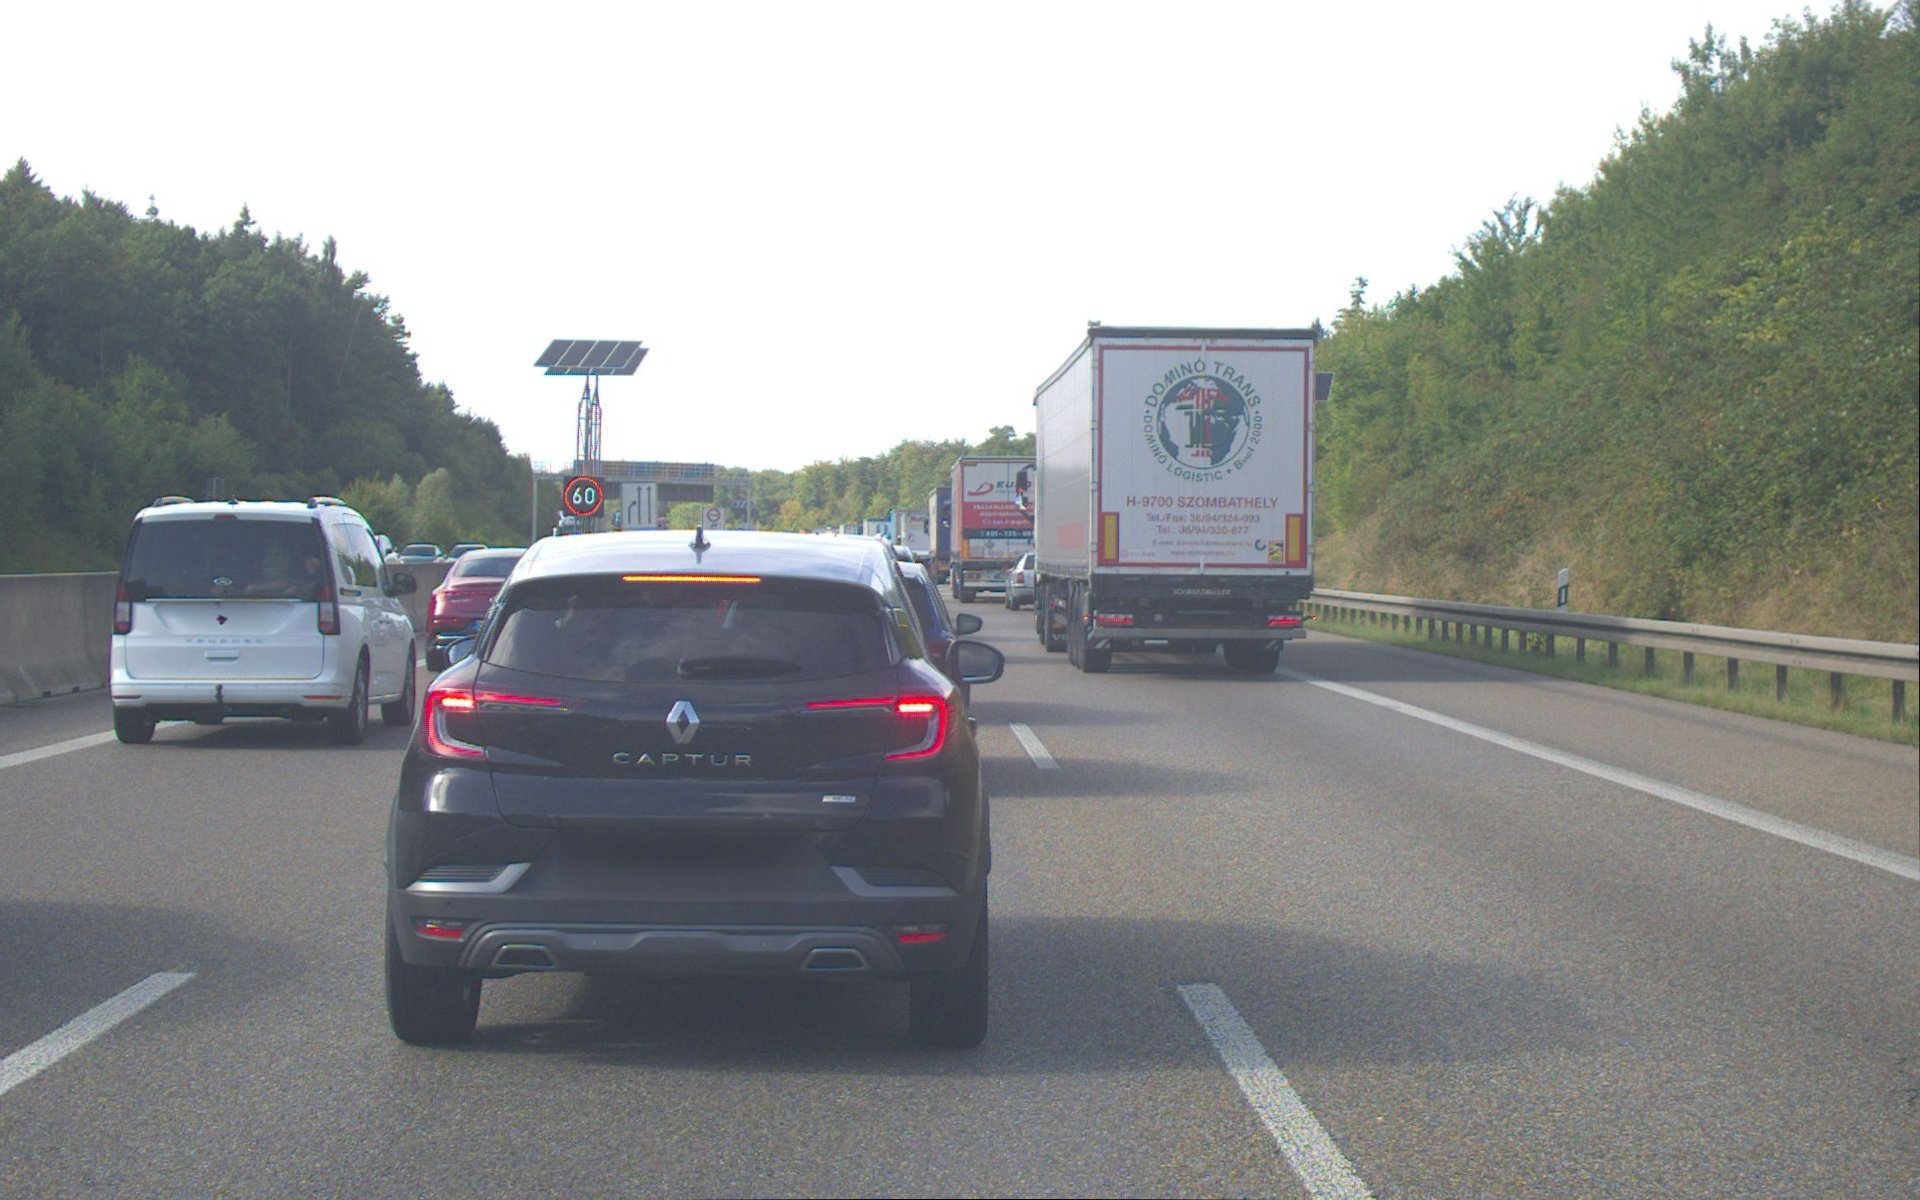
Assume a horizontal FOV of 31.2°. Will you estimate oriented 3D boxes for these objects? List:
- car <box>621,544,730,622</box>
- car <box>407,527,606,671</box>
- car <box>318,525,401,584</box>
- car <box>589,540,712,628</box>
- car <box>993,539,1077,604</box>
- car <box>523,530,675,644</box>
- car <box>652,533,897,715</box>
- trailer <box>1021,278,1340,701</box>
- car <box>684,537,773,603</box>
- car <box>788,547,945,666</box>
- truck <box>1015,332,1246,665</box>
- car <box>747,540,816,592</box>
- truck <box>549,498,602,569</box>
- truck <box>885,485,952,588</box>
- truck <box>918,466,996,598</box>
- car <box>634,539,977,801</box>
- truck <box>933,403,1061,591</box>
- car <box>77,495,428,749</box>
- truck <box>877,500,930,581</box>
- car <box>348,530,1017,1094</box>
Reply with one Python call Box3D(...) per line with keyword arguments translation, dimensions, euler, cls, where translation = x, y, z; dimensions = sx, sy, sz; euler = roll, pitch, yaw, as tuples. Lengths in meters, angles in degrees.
Box3D(translation=(-6.051, -0.375, 73.558), dimensions=(1.993, 1.607, 4.000), euler=(1, 0, 0), cls="car")
Box3D(translation=(-5.425, -0.029, 41.533), dimensions=(1.855, 1.635, 3.926), euler=(1, 0, 0), cls="car")
Box3D(translation=(-18.991, -1.442, 108.884), dimensions=(1.852, 1.803, 4.925), euler=(1, 1, -1), cls="car")
Box3D(translation=(-5.913, -0.313, 66.024), dimensions=(1.993, 1.607, 4.000), euler=(1, 0, 0), cls="car")
Box3D(translation=(1.787, -0.690, 83.175), dimensions=(1.804, 1.527, 3.926), euler=(1, 0, -2), cls="car")
Box3D(translation=(-5.676, -0.217, 54.472), dimensions=(1.993, 1.716, 4.000), euler=(1, 0, 0), cls="car")
Box3D(translation=(-1.598, 0.183, 30.942), dimensions=(1.993, 1.509, 4.000), euler=(1, 0, 0), cls="car")
Box3D(translation=(2.557, -1.339, 44.674), dimensions=(3.002, 4.645, 13.291), euler=(1, 1, -1), cls="trailer")
Box3D(translation=(-5.802, -0.782, 86.590), dimensions=(1.993, 1.607, 4.000), euler=(1, 1, 0), cls="car")
Box3D(translation=(-1.211, 0.067, 46.152), dimensions=(1.993, 1.509, 4.000), euler=(1, 0, 0), cls="car")
Box3D(translation=(2.436, -1.471, 51.172), dimensions=(2.997, 4.651, 5.940), euler=(0, 1, -1), cls="truck")
Box3D(translation=(-5.656, -1.089, 109.358), dimensions=(1.993, 1.607, 4.000), euler=(1, 1, 0), cls="car")
Box3D(translation=(-28.032, -4.849, 251.024), dimensions=(2.890, 5.075, 10.081), euler=(1, 1, -1), cls="truck")
Box3D(translation=(-2.251, -3.473, 190.695), dimensions=(3.167, 5.486, 12.737), euler=(1, 0, 1), cls="truck")
Box3D(translation=(-0.138, -2.888, 149.653), dimensions=(3.166, 5.486, 12.737), euler=(1, 0, 0), cls="truck")
Box3D(translation=(-0.916, 0.394, 22.181), dimensions=(1.993, 1.509, 4.000), euler=(1, 0, 0), cls="car")
Box3D(translation=(0.987, -2.825, 98.816), dimensions=(3.365, 5.027, 12.737), euler=(1, 0, 0), cls="truck")
Box3D(translation=(-5.364, 0.138, 26.614), dimensions=(1.911, 1.783, 4.418), euler=(1, 0, -2), cls="car")
Box3D(translation=(-3.656, -3.837, 225.180), dimensions=(3.166, 5.142, 12.737), euler=(1, 0, 0), cls="truck")
Box3D(translation=(-0.738, 0.558, 11.498), dimensions=(1.805, 1.547, 4.000), euler=(0, 1, 2), cls="car")
